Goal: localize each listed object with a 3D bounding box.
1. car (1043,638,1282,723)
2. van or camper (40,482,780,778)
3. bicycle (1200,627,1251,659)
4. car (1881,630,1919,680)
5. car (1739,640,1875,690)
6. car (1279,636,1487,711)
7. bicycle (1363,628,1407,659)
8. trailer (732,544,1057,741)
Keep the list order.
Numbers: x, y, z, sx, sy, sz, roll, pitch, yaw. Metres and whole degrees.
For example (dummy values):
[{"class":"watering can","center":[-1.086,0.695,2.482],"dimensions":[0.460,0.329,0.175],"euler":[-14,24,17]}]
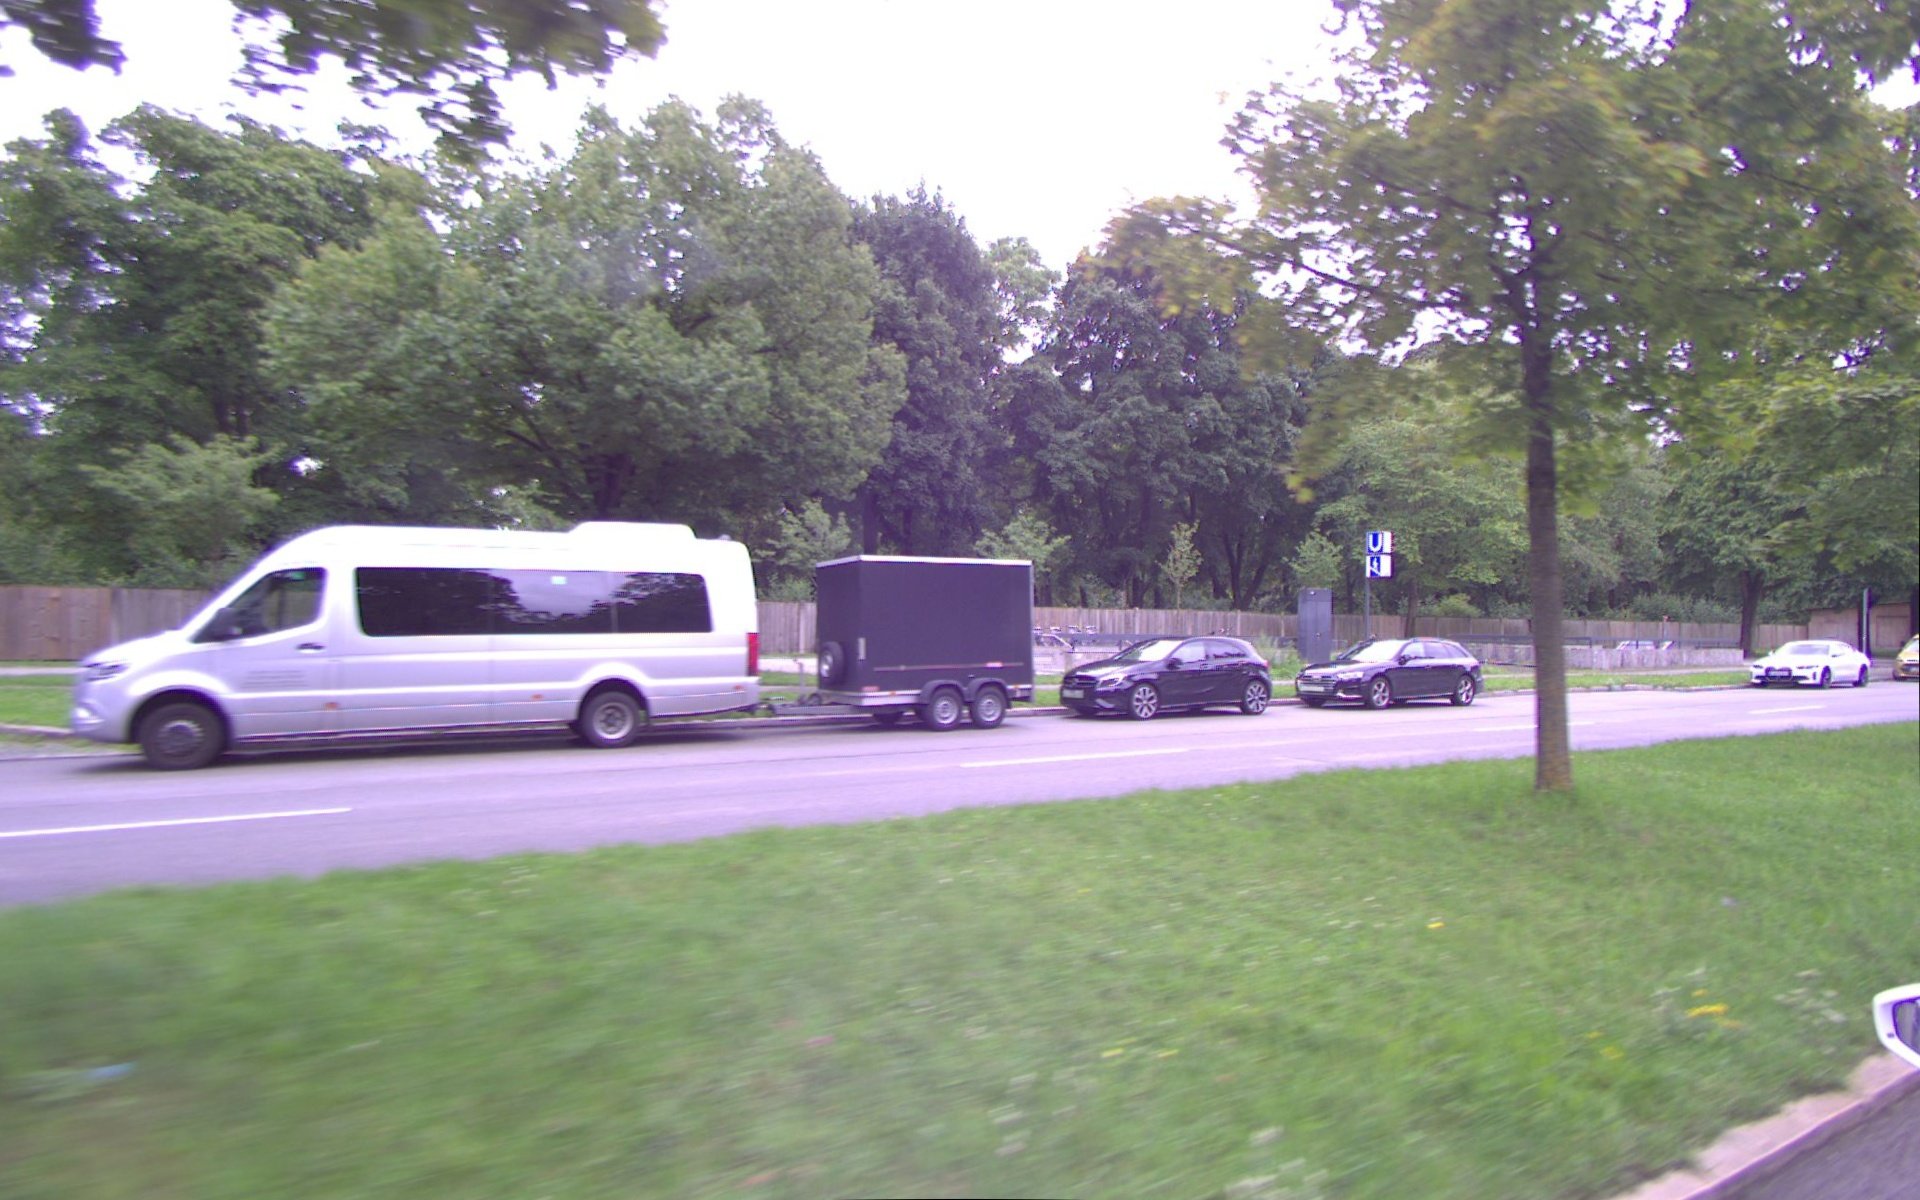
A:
[{"class":"car","center":[3.747,1.408,18.444],"dimensions":[4.187,1.402,1.792],"euler":[1,-3,-30]},{"class":"van or camper","center":[-6.145,0.398,12.498],"dimensions":[7.456,2.875,2.026],"euler":[1,-2,-30]},{"class":"bicycle","center":[8.603,1.387,32.615],"dimensions":[0.427,0.942,1.811],"euler":[1,0,-30]},{"class":"car","center":[36.372,2.026,37.263],"dimensions":[4.759,1.806,1.807],"euler":[1,-2,-29]},{"class":"car","center":[27.158,2.026,32.178],"dimensions":[4.818,1.492,1.848],"euler":[1,-3,-31]},{"class":"car","center":[8.989,1.506,21.294],"dimensions":[4.378,1.444,1.792],"euler":[1,-3,-30]},{"class":"bicycle","center":[15.360,1.577,36.311],"dimensions":[1.803,1.115,0.429],"euler":[2,0,-29]},{"class":"trailer","center":[-0.960,0.650,15.477],"dimensions":[4.603,2.624,2.008],"euler":[1,-2,-30]}]
